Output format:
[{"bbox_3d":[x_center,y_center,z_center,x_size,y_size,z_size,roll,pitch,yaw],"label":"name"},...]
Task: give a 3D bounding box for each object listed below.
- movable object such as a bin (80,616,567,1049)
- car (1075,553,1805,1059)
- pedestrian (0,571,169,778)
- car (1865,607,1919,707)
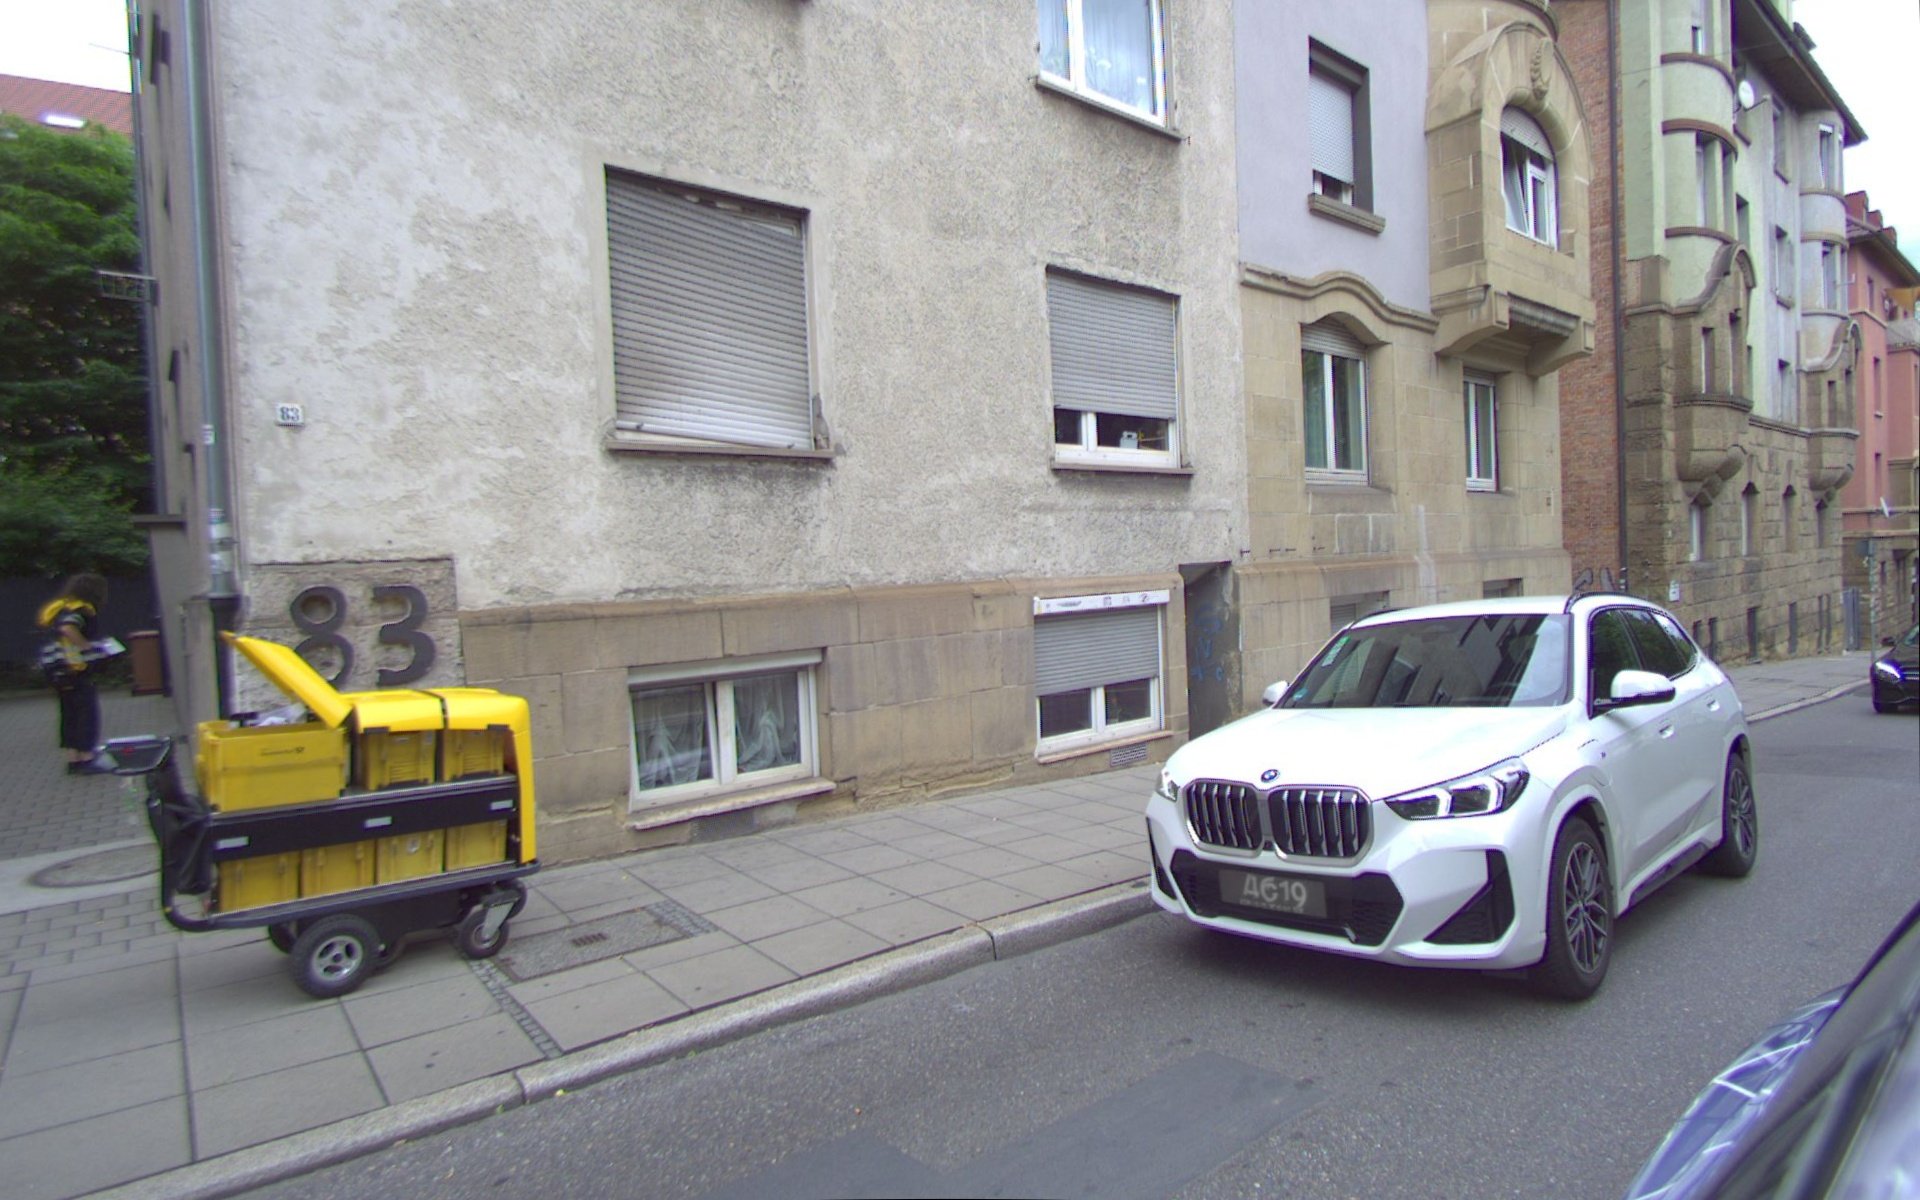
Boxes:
[{"bbox_3d":[-2.664,0.823,4.349,1.664,1.438,0.720,-1,1,-42],"label":"movable object such as a bin"},{"bbox_3d":[2.856,0.730,5.470,4.483,1.626,1.851,0,-5,-41],"label":"car"},{"bbox_3d":[-7.587,0.610,8.812,0.729,1.681,0.765,-3,2,-6],"label":"pedestrian"},{"bbox_3d":[15.192,0.757,14.904,4.200,1.386,1.854,0,-3,-36],"label":"car"}]
